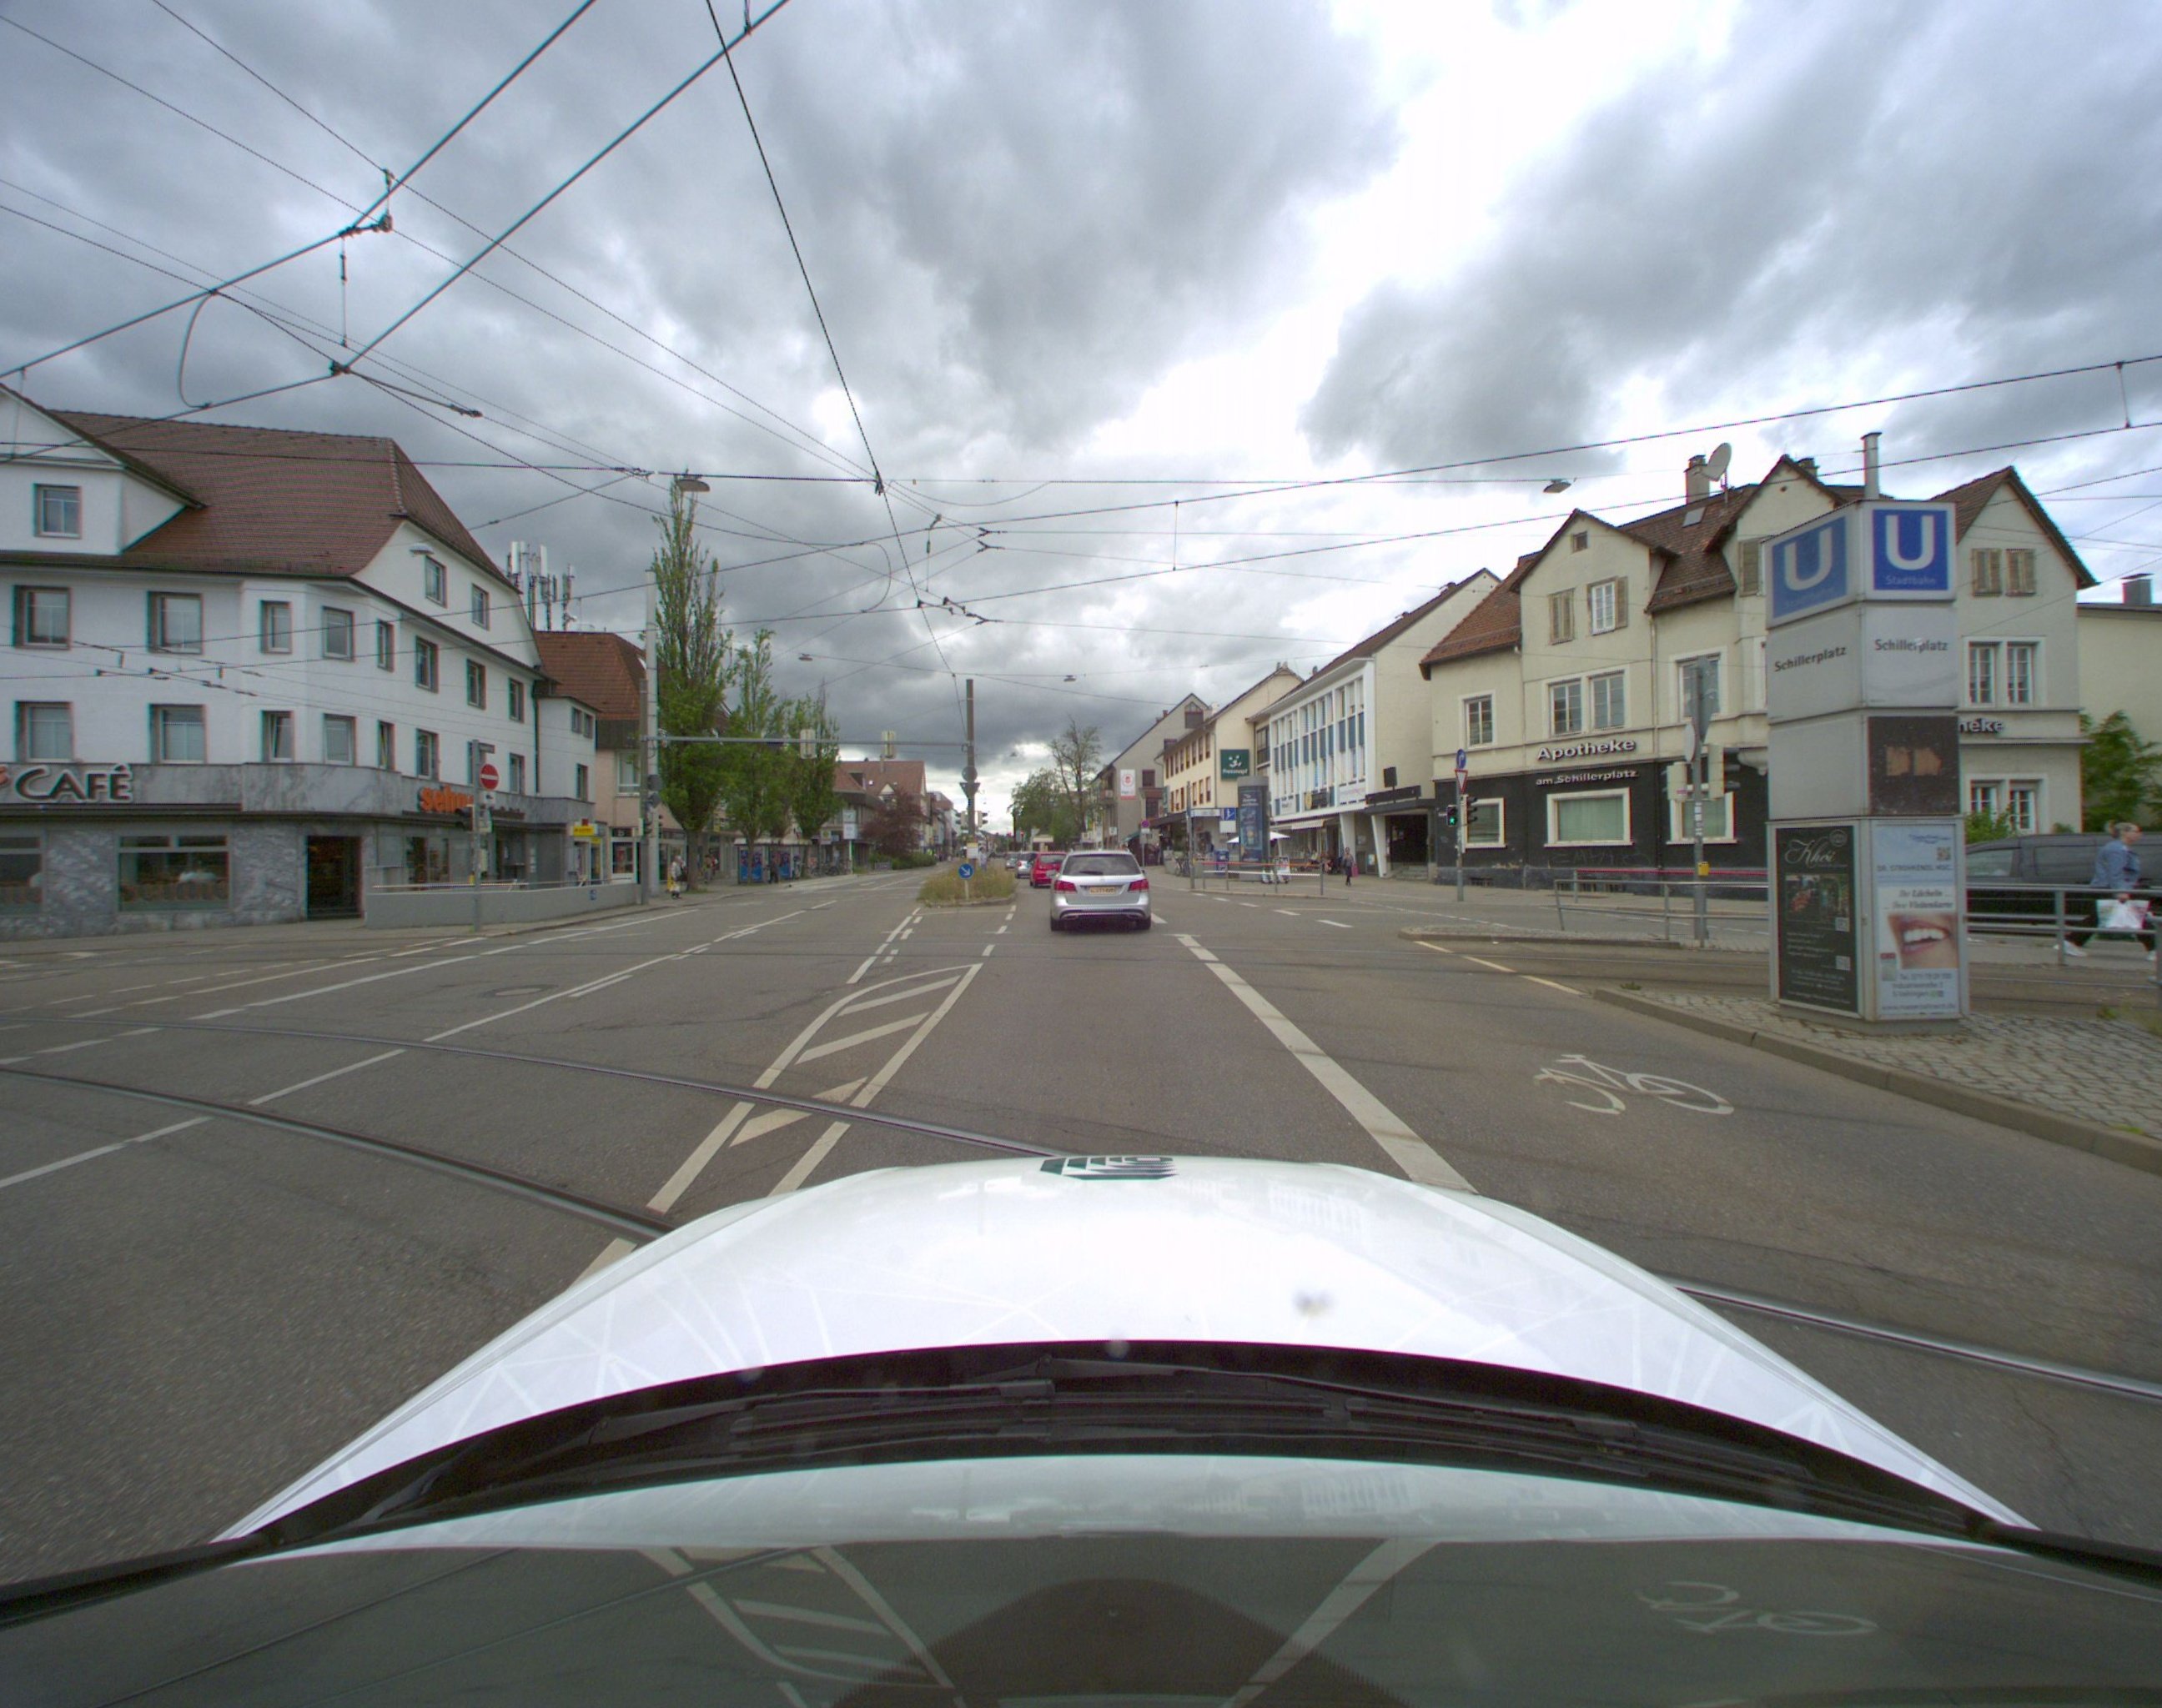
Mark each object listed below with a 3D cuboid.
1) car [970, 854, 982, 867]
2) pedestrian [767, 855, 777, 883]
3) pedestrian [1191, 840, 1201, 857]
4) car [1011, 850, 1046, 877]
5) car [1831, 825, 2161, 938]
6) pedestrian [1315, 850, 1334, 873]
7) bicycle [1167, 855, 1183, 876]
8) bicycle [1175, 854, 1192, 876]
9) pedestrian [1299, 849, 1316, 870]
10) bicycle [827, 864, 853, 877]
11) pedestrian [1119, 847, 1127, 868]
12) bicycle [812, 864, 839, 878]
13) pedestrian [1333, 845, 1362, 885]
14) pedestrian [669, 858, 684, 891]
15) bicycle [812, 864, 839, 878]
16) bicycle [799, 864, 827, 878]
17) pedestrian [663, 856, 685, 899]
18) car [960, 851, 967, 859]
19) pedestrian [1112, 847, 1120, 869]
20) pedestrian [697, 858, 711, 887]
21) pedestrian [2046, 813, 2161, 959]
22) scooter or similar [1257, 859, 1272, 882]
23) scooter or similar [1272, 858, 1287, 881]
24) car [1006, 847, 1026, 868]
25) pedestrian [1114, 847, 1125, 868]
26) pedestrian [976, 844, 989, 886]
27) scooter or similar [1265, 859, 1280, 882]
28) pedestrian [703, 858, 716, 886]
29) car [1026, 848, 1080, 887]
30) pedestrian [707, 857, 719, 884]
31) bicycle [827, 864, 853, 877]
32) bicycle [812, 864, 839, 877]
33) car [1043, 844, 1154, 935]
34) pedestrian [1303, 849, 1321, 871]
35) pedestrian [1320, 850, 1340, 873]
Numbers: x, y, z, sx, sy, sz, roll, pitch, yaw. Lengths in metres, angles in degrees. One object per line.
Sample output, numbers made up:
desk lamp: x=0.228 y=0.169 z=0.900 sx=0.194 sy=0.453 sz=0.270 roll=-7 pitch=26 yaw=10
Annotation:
car: x=-17.550 y=1.098 z=136.148 sx=1.992 sy=2.013 sz=3.990 roll=-1 pitch=0 yaw=-7
pedestrian: x=-17.509 y=0.838 z=46.141 sx=0.535 sy=1.546 sz=0.575 roll=-1 pitch=0 yaw=-22
pedestrian: x=8.324 y=-0.380 z=58.936 sx=0.533 sy=1.218 sz=0.578 roll=0 pitch=0 yaw=-8
car: x=-3.090 y=0.527 z=47.465 sx=1.733 sy=1.508 sz=3.990 roll=-1 pitch=0 yaw=-8
car: x=17.422 y=0.450 z=15.415 sx=4.636 sy=1.820 sz=1.876 roll=0 pitch=3 yaw=39
pedestrian: x=12.419 y=0.361 z=41.572 sx=0.736 sy=1.164 sz=0.641 roll=0 pitch=0 yaw=-8
bicycle: x=4.960 y=0.587 z=43.050 sx=0.447 sy=1.091 sz=2.146 roll=-1 pitch=0 yaw=-4
bicycle: x=5.406 y=0.558 z=43.096 sx=0.447 sy=1.107 sz=2.146 roll=-1 pitch=0 yaw=-4
pedestrian: x=12.459 y=0.304 z=44.825 sx=0.736 sy=1.164 sz=0.641 roll=0 pitch=0 yaw=-8
bicycle: x=-19.220 y=1.294 z=64.987 sx=1.941 sy=1.029 sz=0.527 roll=0 pitch=0 yaw=-16
pedestrian: x=3.047 y=0.242 z=58.693 sx=0.575 sy=1.469 sz=0.652 roll=0 pitch=0 yaw=4
bicycle: x=-19.644 y=1.292 z=62.583 sx=1.941 sy=1.029 sz=0.527 roll=0 pitch=0 yaw=-16
pedestrian: x=10.709 y=0.426 z=32.733 sx=0.644 sy=1.591 sz=0.890 roll=0 pitch=0 yaw=-26
pedestrian: x=-22.781 y=1.140 z=45.893 sx=0.644 sy=1.836 sz=0.576 roll=-1 pitch=0 yaw=-20
bicycle: x=-19.447 y=1.292 z=61.941 sx=1.941 sy=1.029 sz=0.527 roll=0 pitch=0 yaw=-16
bicycle: x=-20.107 y=1.291 z=61.133 sx=1.941 sy=1.029 sz=0.527 roll=0 pitch=0 yaw=-16
pedestrian: x=-15.738 y=0.899 z=31.505 sx=0.635 sy=1.606 sz=0.700 roll=-1 pitch=0 yaw=-18
car: x=-33.296 y=0.276 z=231.136 sx=1.993 sy=2.013 sz=3.988 roll=0 pitch=0 yaw=-8
pedestrian: x=2.655 y=0.290 z=62.400 sx=0.576 sy=1.666 sz=0.651 roll=0 pitch=0 yaw=0
pedestrian: x=-20.721 y=1.011 z=44.742 sx=0.579 sy=1.606 sz=0.640 roll=-1 pitch=0 yaw=-18
pedestrian: x=12.779 y=0.371 z=10.079 sx=0.840 sy=1.718 sz=0.725 roll=-1 pitch=0 yaw=-9
scooter or similar: x=8.121 y=0.733 z=36.094 sx=0.271 sy=1.001 sz=1.026 roll=-1 pitch=0 yaw=-9
scooter or similar: x=8.840 y=0.702 z=36.238 sx=0.271 sy=1.001 sz=1.026 roll=-1 pitch=0 yaw=-9
car: x=-5.860 y=0.304 z=73.597 sx=1.731 sy=1.759 sz=3.994 roll=-1 pitch=0 yaw=-4
pedestrian: x=2.585 y=0.245 z=54.894 sx=0.578 sy=1.435 sz=0.648 roll=0 pitch=0 yaw=-12
pedestrian: x=-4.222 y=0.464 z=34.890 sx=0.533 sy=1.763 sz=0.578 roll=-1 pitch=0 yaw=-8
scooter or similar: x=8.481 y=0.728 z=36.170 sx=0.271 sy=1.001 sz=1.026 roll=-1 pitch=0 yaw=-9
pedestrian: x=-21.456 y=1.013 z=47.081 sx=0.579 sy=1.606 sz=0.640 roll=-1 pitch=0 yaw=-18
car: x=-1.219 y=0.533 z=33.721 sx=1.734 sy=1.508 sz=3.988 roll=-1 pitch=0 yaw=-9
pedestrian: x=-22.721 y=1.015 z=50.335 sx=0.579 sy=1.606 sz=0.640 roll=-1 pitch=0 yaw=-18
bicycle: x=-19.512 y=1.295 z=65.933 sx=1.941 sy=1.029 sz=0.527 roll=0 pitch=0 yaw=-16
bicycle: x=-19.827 y=1.293 z=63.159 sx=1.941 sy=1.029 sz=0.527 roll=0 pitch=0 yaw=-16
car: x=0.427 y=0.585 z=15.905 sx=1.838 sy=1.508 sz=4.175 roll=-1 pitch=0 yaw=3
pedestrian: x=12.534 y=0.313 z=44.169 sx=0.736 sy=1.164 sz=0.641 roll=0 pitch=0 yaw=-8
pedestrian: x=12.510 y=0.361 z=40.921 sx=0.736 sy=1.164 sz=0.641 roll=0 pitch=0 yaw=-8
